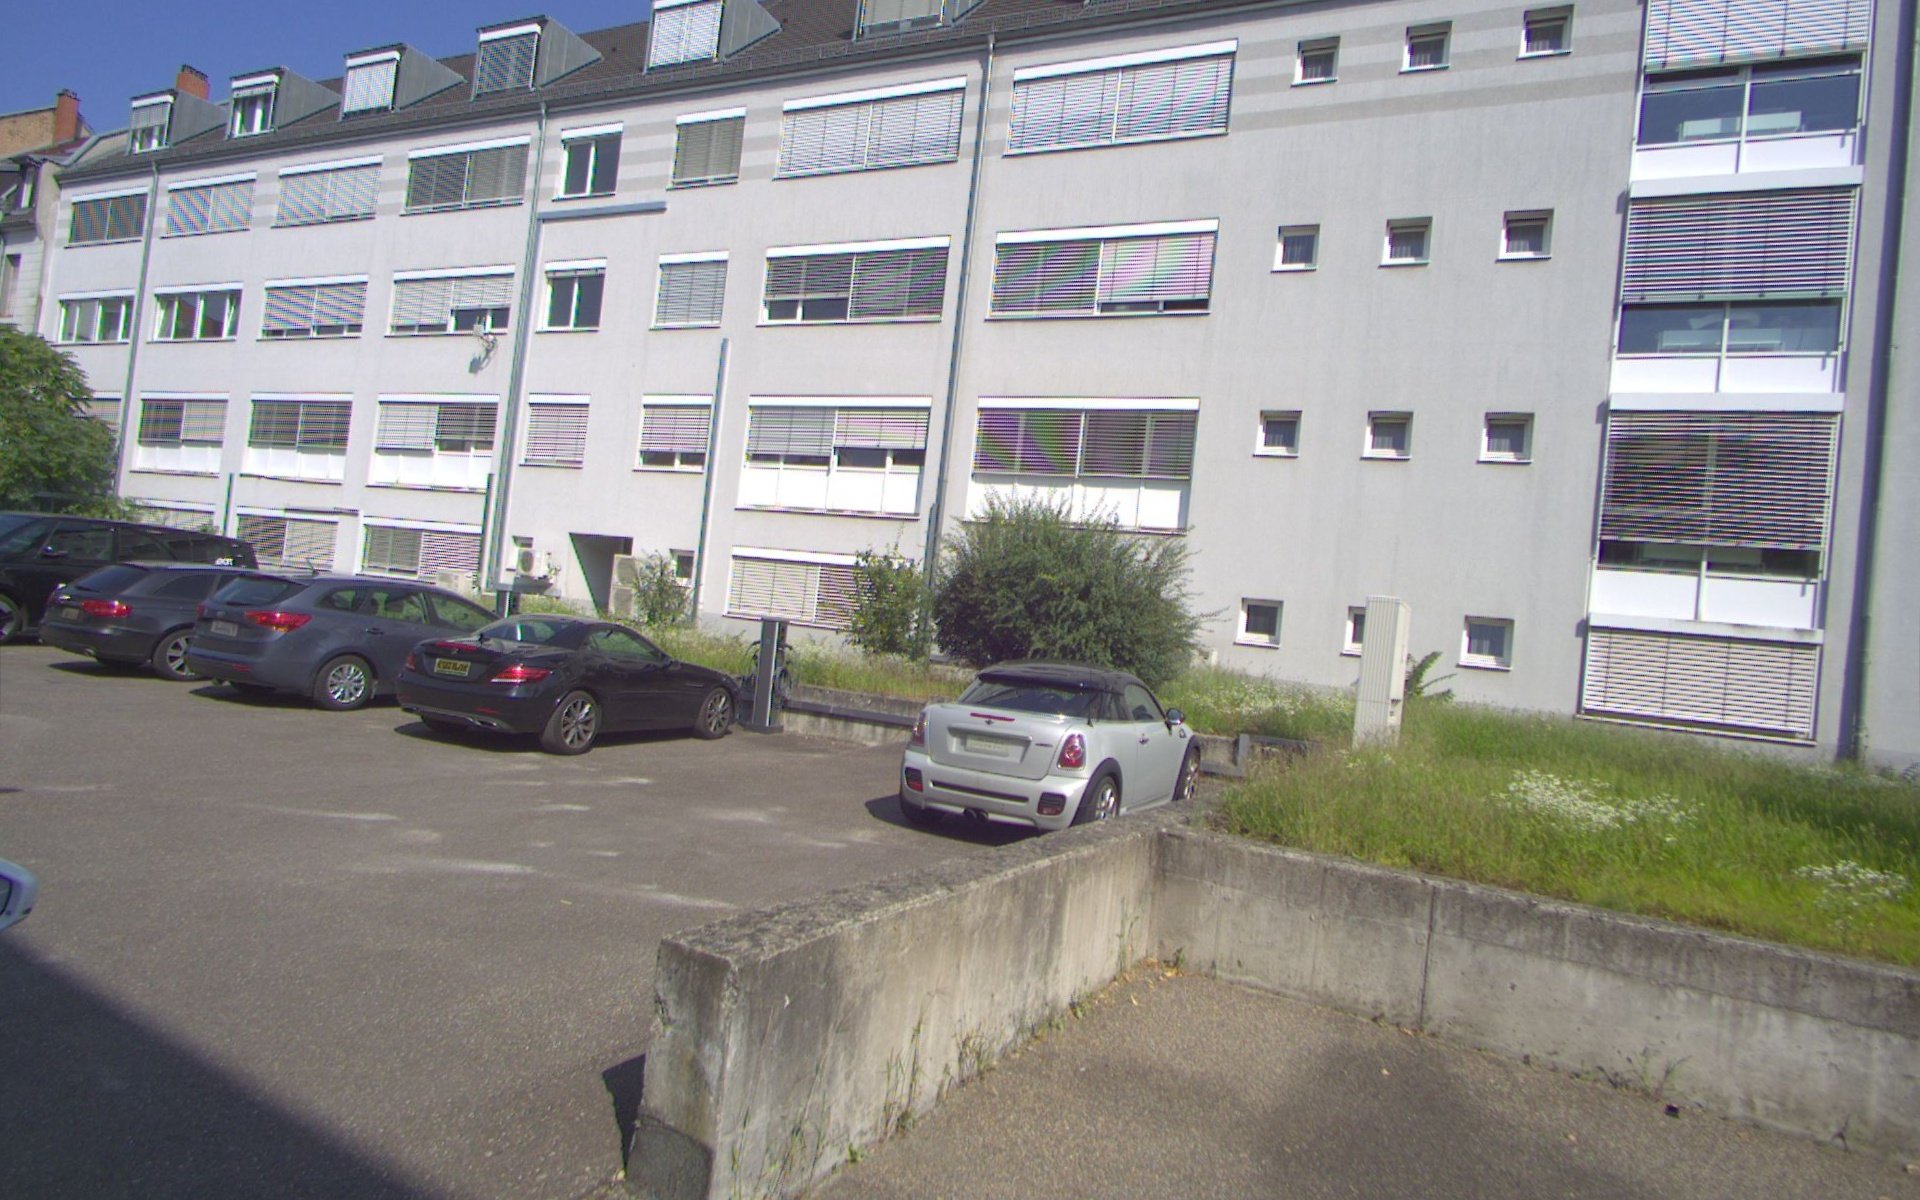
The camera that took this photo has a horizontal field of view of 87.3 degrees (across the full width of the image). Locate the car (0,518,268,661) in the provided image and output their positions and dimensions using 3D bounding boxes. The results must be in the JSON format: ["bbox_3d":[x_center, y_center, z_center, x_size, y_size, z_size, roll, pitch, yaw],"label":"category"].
[{"bbox_3d":[-13.327,-0.143,15.055,1.848,1.814,4.519,4,-3,21],"label":"car"}]

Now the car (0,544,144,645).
[{"bbox_3d":[-15.952,-0.193,16.189,1.742,1.499,3.948,4,-3,21],"label":"car"}]

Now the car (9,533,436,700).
[{"bbox_3d":[-9.528,0.337,13.420,1.740,1.710,4.131,5,-4,27],"label":"car"}]

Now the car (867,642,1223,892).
[{"bbox_3d":[0.960,1.225,8.883,1.772,1.564,3.623,4,0,28],"label":"car"}]

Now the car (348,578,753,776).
[{"bbox_3d":[-4.151,0.855,10.933,1.862,1.606,3.816,5,-4,20],"label":"car"}]

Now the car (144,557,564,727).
[{"bbox_3d":[-7.052,0.608,12.189,1.846,1.606,3.877,5,-4,25],"label":"car"}]
